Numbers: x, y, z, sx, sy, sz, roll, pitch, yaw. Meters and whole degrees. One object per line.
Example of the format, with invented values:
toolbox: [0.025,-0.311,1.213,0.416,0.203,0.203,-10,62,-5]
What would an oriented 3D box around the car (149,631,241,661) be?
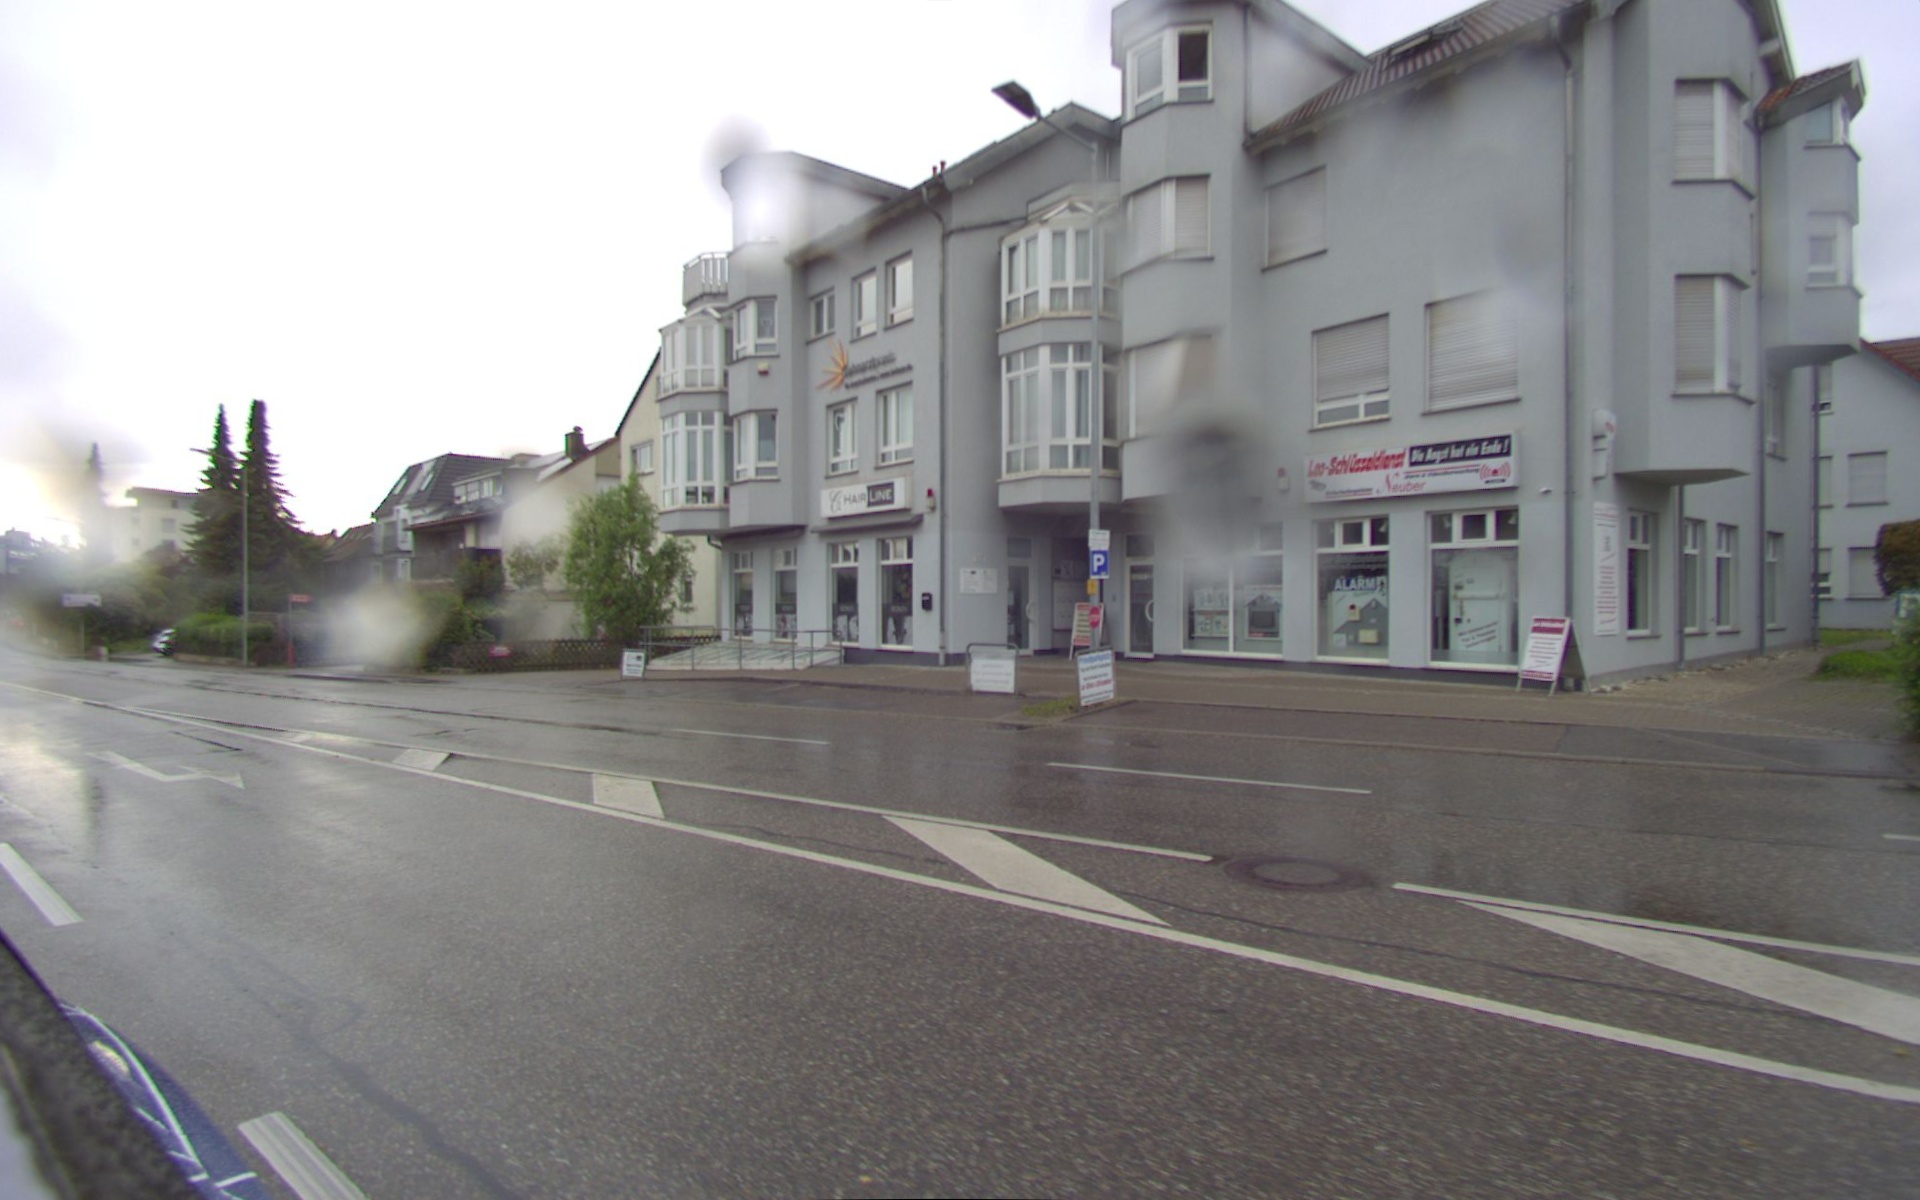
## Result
car: [-44.927,2.685,59.462,4.058,1.557,2.001,-1,-1,-45]

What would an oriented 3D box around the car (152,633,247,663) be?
car: [-43.107,2.679,57.406,4.097,1.453,1.892,-1,-1,-43]

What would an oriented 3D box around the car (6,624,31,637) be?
car: [-116.997,3.810,125.762,1.968,1.628,4.007,1,-2,-39]

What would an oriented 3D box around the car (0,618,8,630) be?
car: [-141.627,3.590,149.029,1.824,1.777,4.128,1,-2,-39]

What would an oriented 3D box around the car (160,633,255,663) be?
car: [-41.352,2.597,55.636,3.979,1.453,1.814,-1,-1,-45]
